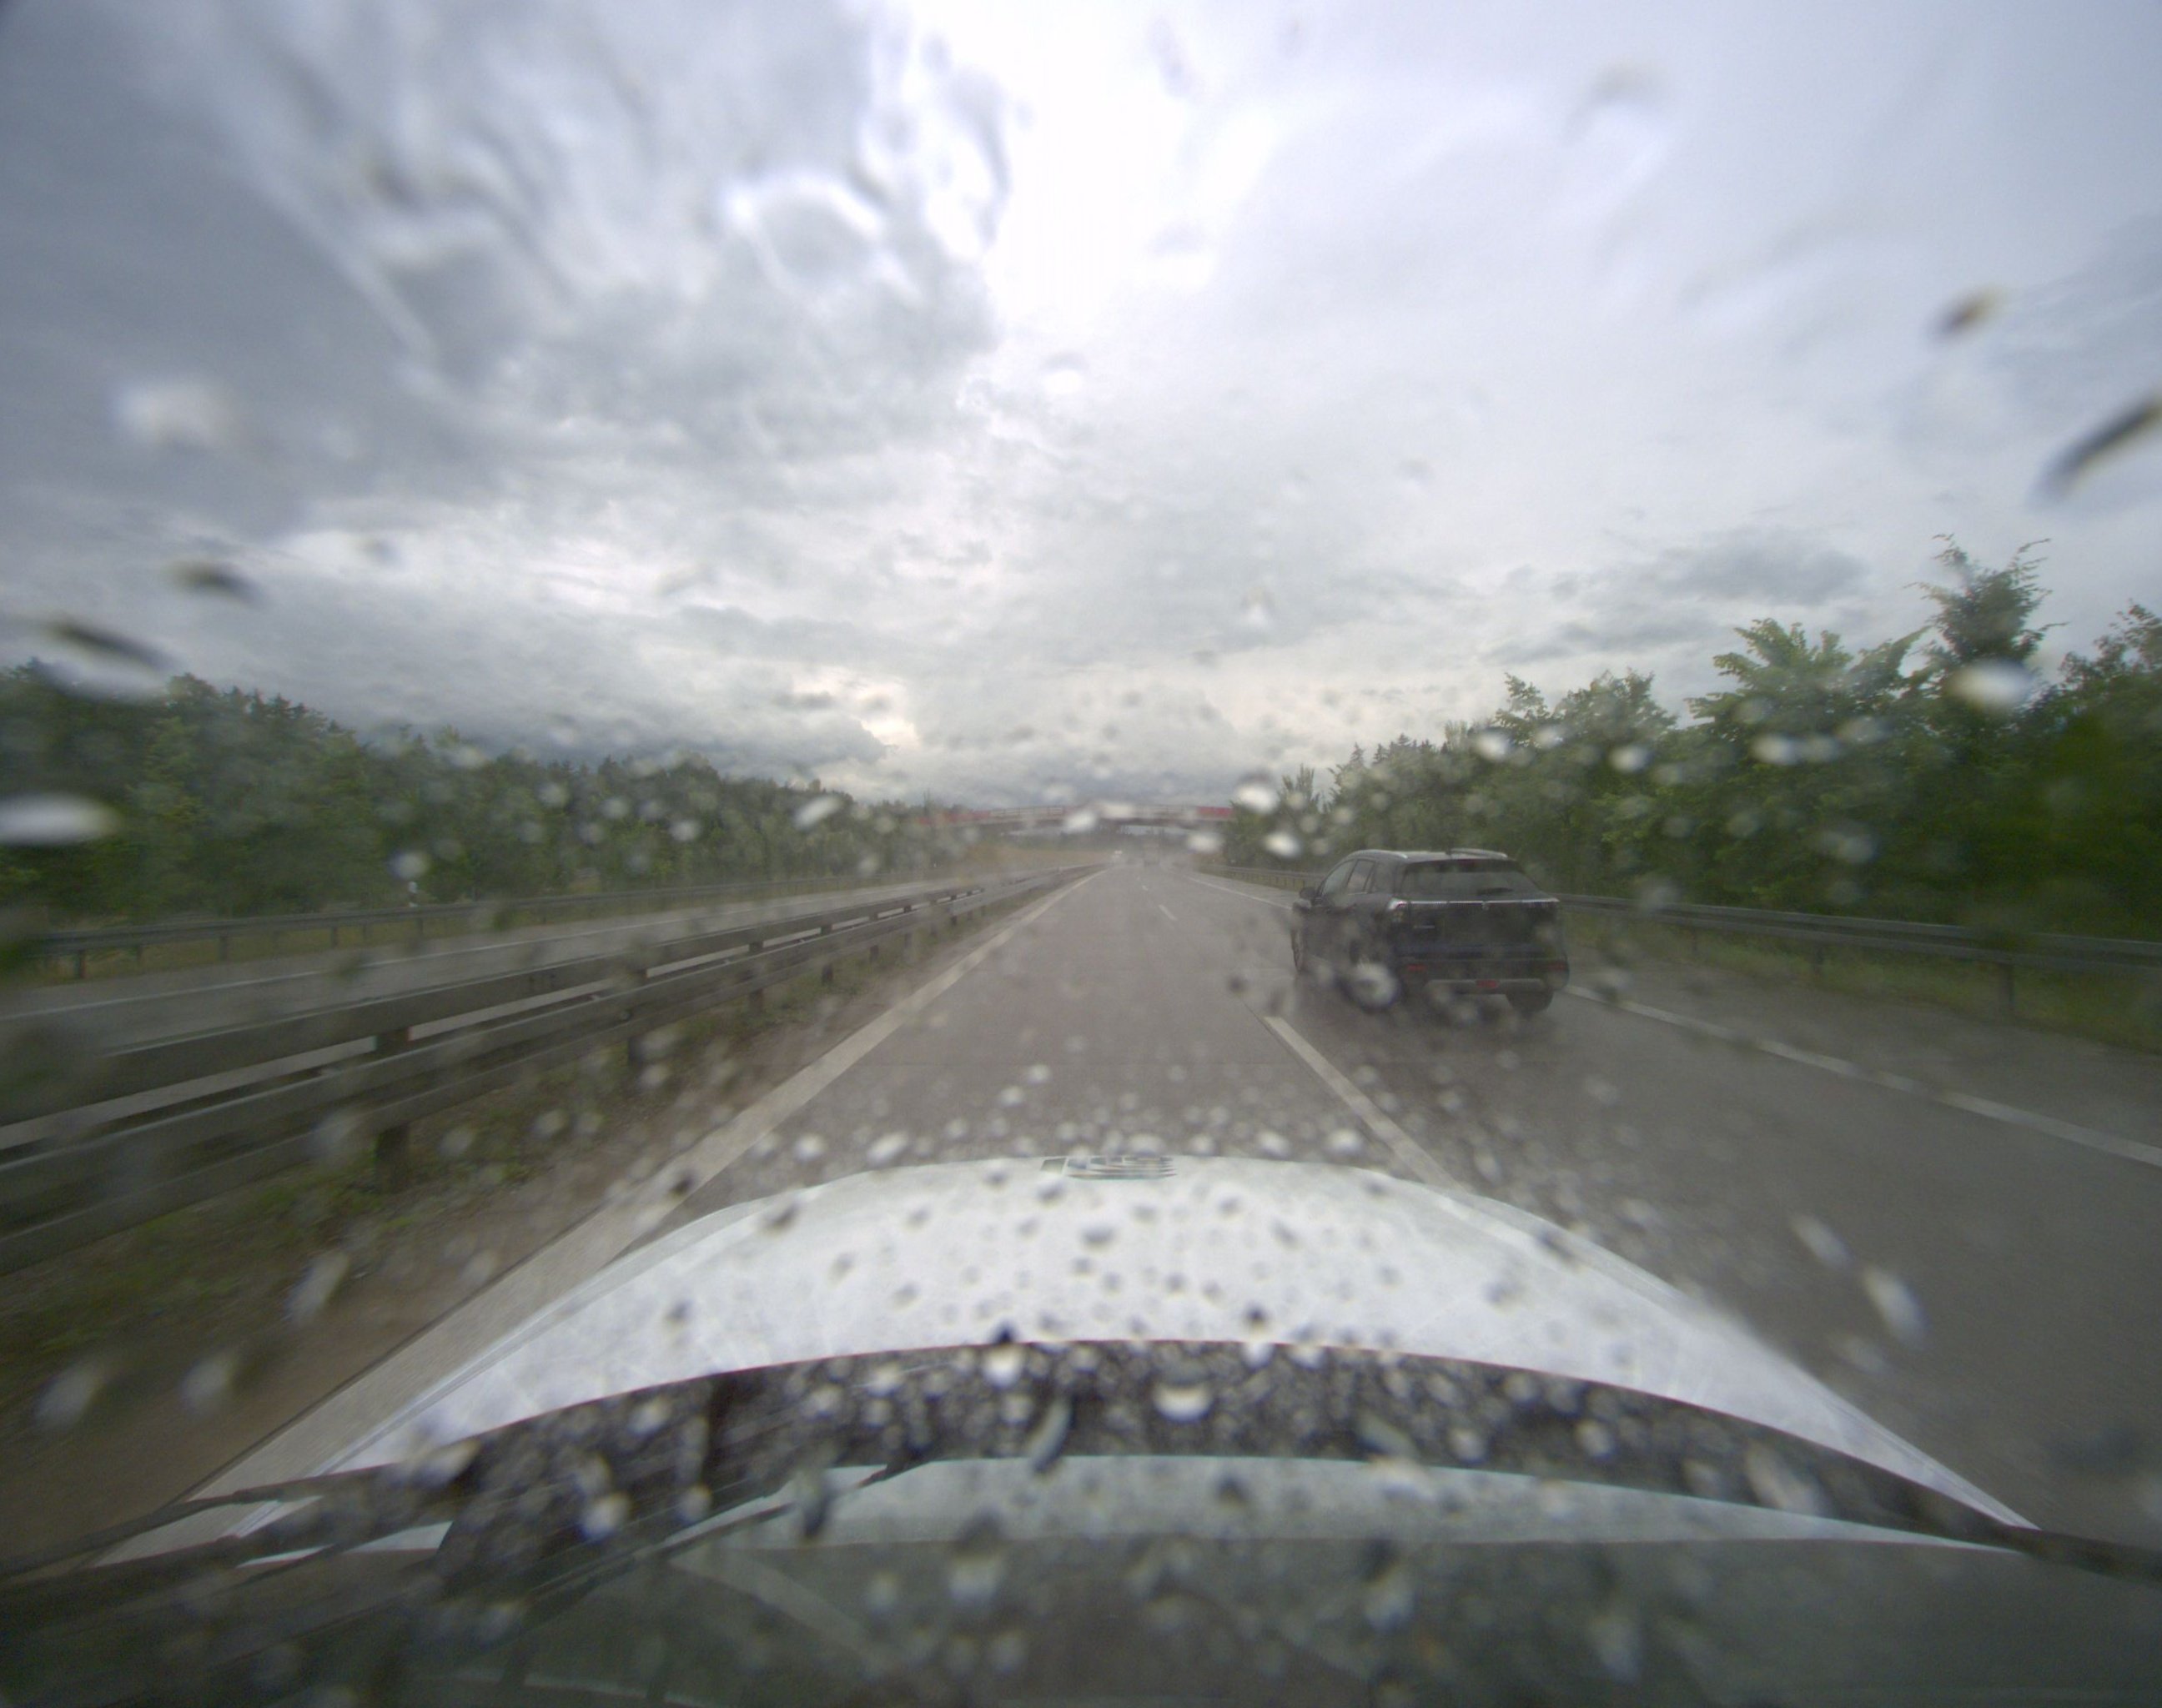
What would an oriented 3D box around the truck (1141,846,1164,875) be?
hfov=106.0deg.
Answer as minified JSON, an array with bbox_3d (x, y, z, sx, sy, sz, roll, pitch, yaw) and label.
[{"bbox_3d":[11.559,0.950,130.710,3.225,4.437,8.265,-1,0,8],"label":"truck"}]

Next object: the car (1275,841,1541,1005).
[{"bbox_3d":[3.591,0.668,9.692,1.886,1.576,3.635,0,0,3],"label":"car"}]
